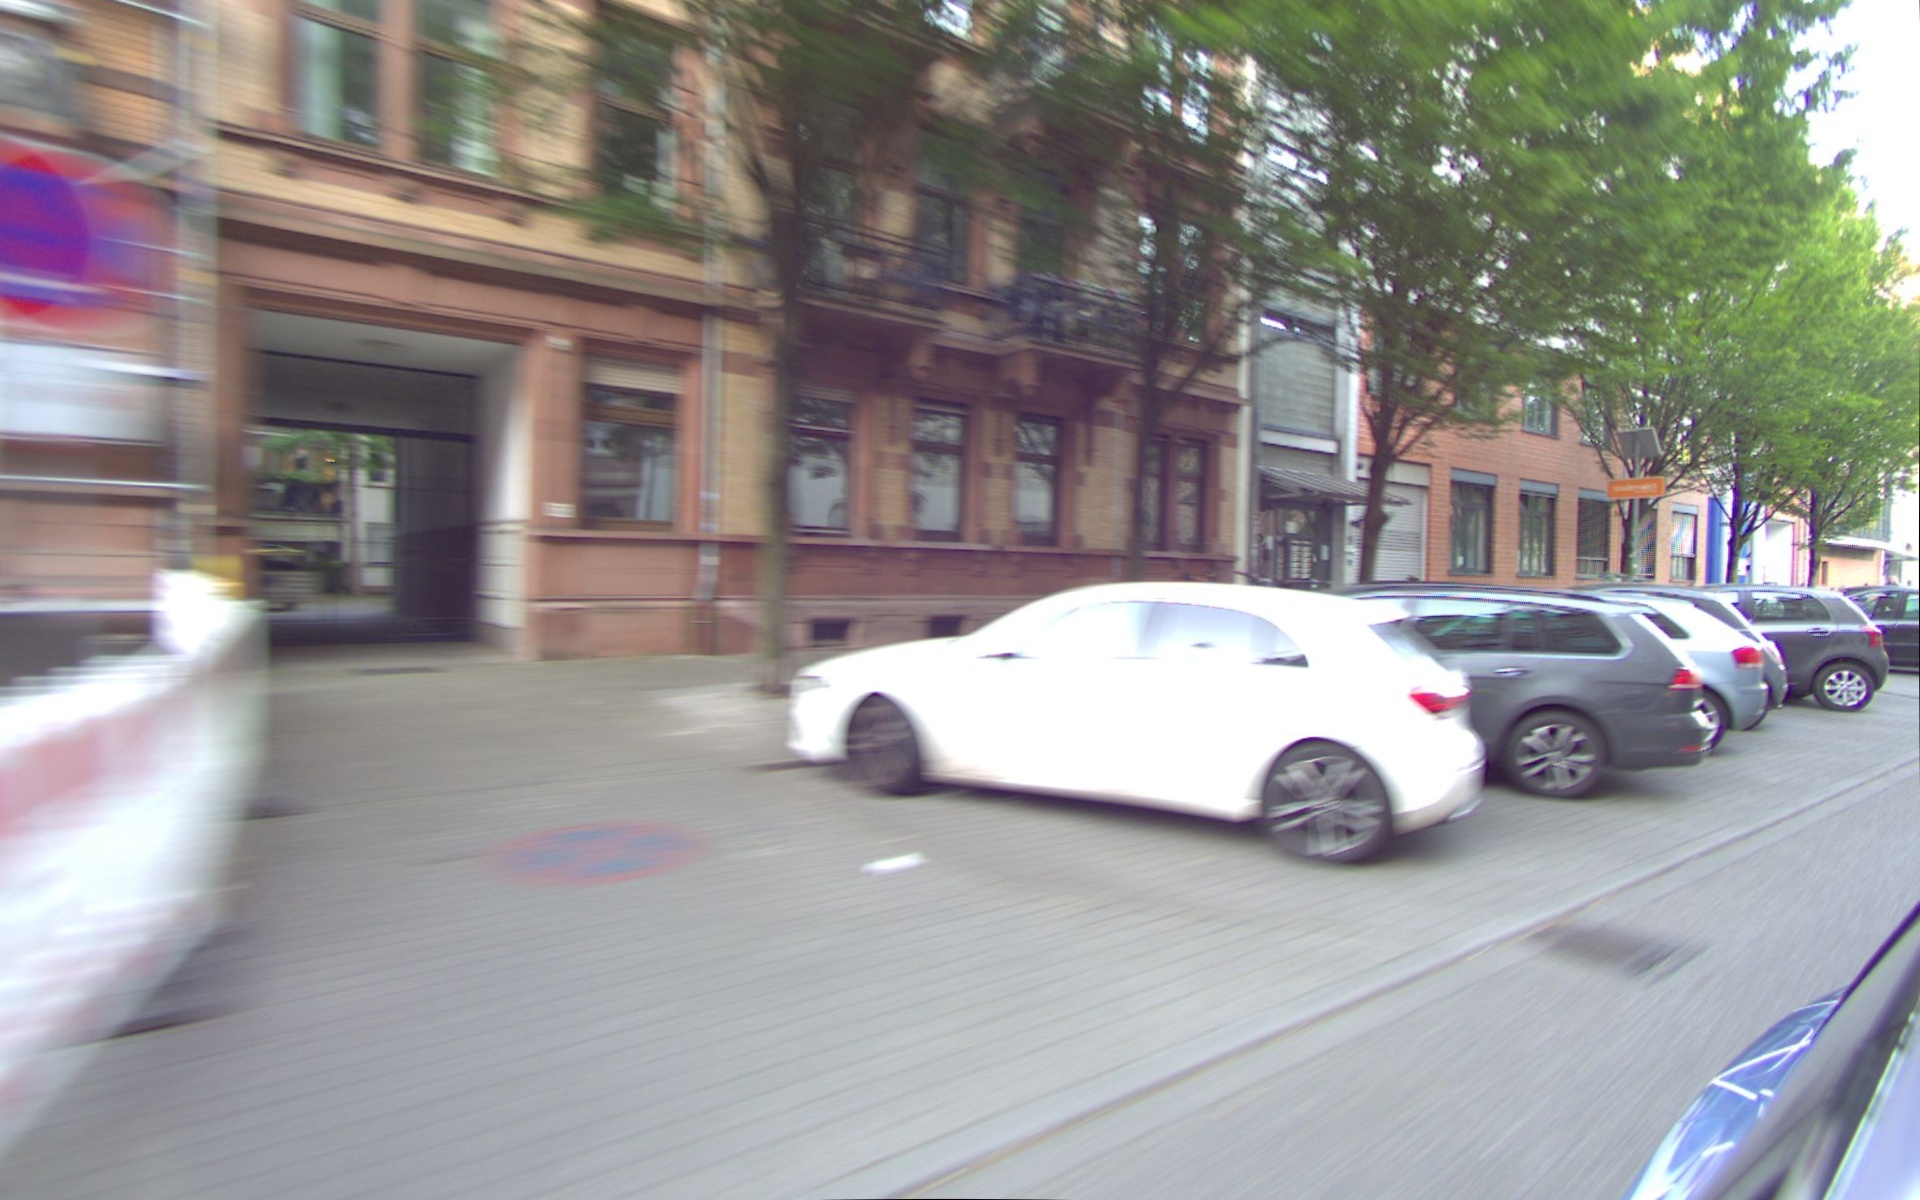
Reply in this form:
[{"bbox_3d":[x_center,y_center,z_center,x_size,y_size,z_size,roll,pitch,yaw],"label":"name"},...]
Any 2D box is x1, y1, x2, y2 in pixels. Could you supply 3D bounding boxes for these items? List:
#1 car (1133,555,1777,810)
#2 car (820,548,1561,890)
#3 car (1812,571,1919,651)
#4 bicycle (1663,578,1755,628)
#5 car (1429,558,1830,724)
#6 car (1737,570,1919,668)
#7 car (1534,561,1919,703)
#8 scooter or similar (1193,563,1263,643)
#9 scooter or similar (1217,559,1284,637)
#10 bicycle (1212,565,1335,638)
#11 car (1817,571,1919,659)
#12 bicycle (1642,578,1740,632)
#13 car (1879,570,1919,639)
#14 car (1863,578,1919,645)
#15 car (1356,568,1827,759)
[{"bbox_3d":[3.611,0.481,8.135,4.116,1.506,1.821,3,3,18],"label":"car"},{"bbox_3d":[1.282,0.513,6.354,3.947,1.506,1.674,3,3,20],"label":"car"},{"bbox_3d":[21.183,0.274,21.890,3.795,1.584,1.665,4,4,25],"label":"car"},{"bbox_3d":[19.257,0.055,26.042,0.537,1.113,1.768,-1,6,-42],"label":"bicycle"},{"bbox_3d":[7.487,0.361,11.765,3.597,1.536,1.610,4,3,27],"label":"car"},{"bbox_3d":[16.943,0.339,18.753,3.808,1.584,1.659,4,4,33],"label":"car"},{"bbox_3d":[9.957,0.324,13.468,3.756,1.536,1.639,3,3,22],"label":"car"},{"bbox_3d":[4.410,0.052,16.688,1.046,1.297,0.330,-1,0,2],"label":"scooter or similar"},{"bbox_3d":[4.979,-0.038,17.332,1.044,1.297,0.330,-1,0,-7],"label":"scooter or similar"},{"bbox_3d":[5.669,-0.002,18.363,2.012,1.179,0.573,5,4,37],"label":"bicycle"},{"bbox_3d":[19.523,0.342,19.788,3.794,1.584,1.665,4,4,25],"label":"car"},{"bbox_3d":[17.563,0.106,24.362,0.537,1.113,1.768,-1,6,-42],"label":"bicycle"},{"bbox_3d":[25.396,0.192,24.828,3.799,1.668,1.663,4,4,27],"label":"car"},{"bbox_3d":[23.373,0.337,23.013,3.795,1.447,1.665,4,4,25],"label":"car"},{"bbox_3d":[5.880,0.487,9.997,3.591,1.438,1.818,3,3,23],"label":"car"}]
